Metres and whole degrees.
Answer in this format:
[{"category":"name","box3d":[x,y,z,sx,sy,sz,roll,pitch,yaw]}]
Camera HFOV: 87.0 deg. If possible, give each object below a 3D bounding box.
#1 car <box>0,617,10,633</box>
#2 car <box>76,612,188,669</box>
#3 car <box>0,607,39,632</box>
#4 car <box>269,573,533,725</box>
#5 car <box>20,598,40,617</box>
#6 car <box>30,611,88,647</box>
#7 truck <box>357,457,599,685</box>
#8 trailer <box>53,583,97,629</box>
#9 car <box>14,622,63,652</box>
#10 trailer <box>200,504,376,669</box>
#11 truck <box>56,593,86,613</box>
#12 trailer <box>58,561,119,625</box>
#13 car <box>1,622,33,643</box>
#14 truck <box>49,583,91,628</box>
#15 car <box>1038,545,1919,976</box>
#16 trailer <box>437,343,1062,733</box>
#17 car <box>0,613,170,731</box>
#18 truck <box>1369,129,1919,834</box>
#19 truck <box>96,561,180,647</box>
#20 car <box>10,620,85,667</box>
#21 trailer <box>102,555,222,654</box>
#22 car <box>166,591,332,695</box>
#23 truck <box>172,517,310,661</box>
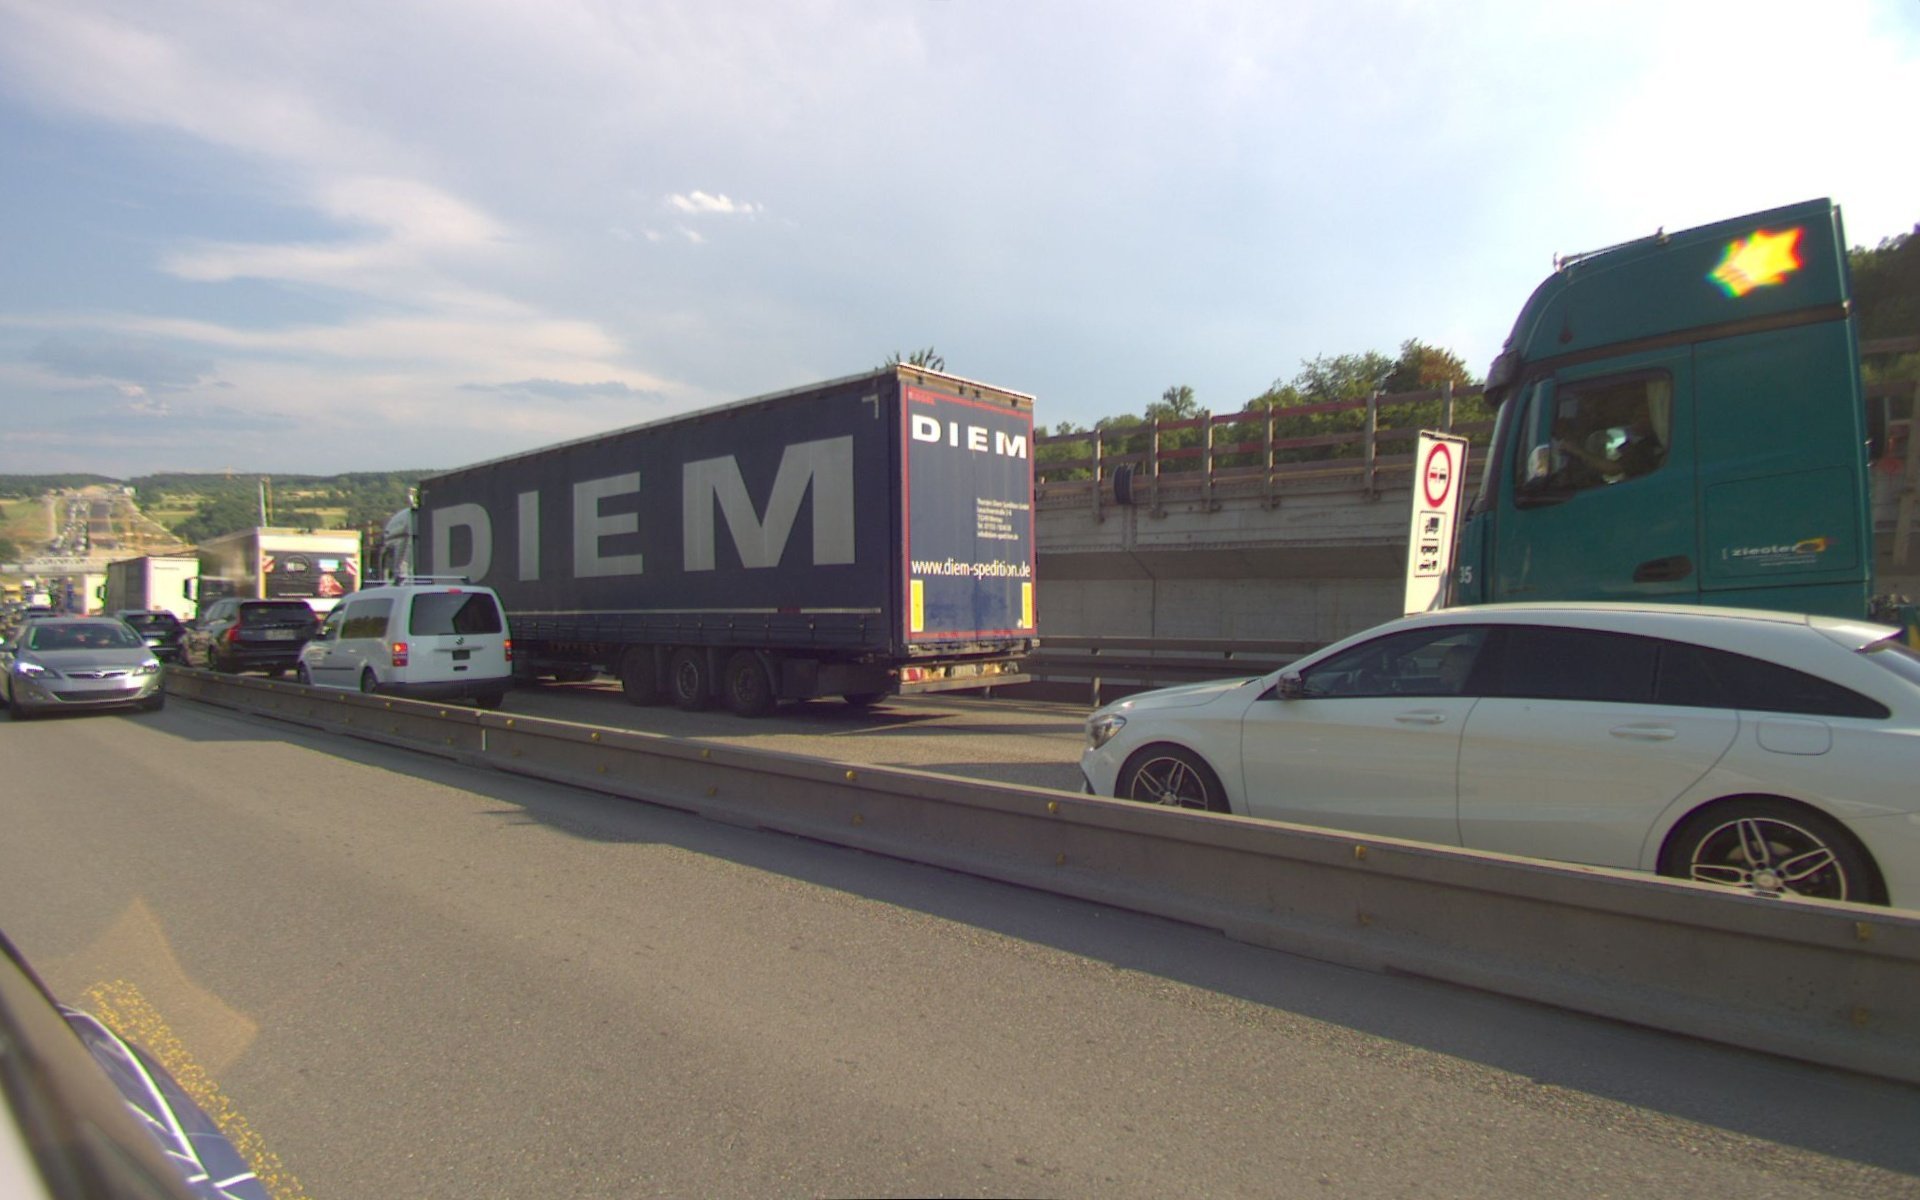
[{"category":"car","box3d":[-99.869,2.630,105.188,1.679,1.588,4.374,0,0,-43]},{"category":"car","box3d":[-25.669,1.191,31.290,5.367,1.618,1.856,0,-2,42]},{"category":"car","box3d":[-71.544,1.450,76.908,4.977,1.667,1.985,0,2,45]},{"category":"car","box3d":[-8.609,0.662,15.347,5.128,1.948,1.804,0,-3,41]},{"category":"car","box3d":[-131.572,1.077,143.174,1.972,2.636,5.619,1,-1,-43]},{"category":"car","box3d":[-44.441,1.404,49.875,4.480,1.562,1.747,1,2,44]},{"category":"truck","box3d":[-10.092,-0.486,21.047,5.027,4.146,2.720,-1,-2,41]},{"category":"trailer","box3d":[-83.750,0.526,95.705,2.782,4.136,8.294,0,0,-43]},{"category":"car","box3d":[-53.748,2.139,58.992,4.816,1.467,1.755,1,2,44]},{"category":"trailer","box3d":[-20.757,-0.357,31.077,7.152,4.499,2.880,0,0,43]},{"category":"truck","box3d":[-140.701,0.442,160.149,3.197,3.169,6.495,0,0,-44]},{"category":"trailer","box3d":[-63.911,-0.453,74.057,2.427,4.352,13.784,0,0,-45]},{"category":"car","box3d":[-84.893,2.899,91.118,4.733,1.618,1.859,0,2,44]},{"category":"truck","box3d":[-90.274,0.560,102.611,2.782,4.290,10.590,0,0,-43]},{"category":"car","box3d":[2.865,0.598,5.308,4.815,1.533,1.784,0,-2,42]},{"category":"trailer","box3d":[-4.261,-0.577,15.923,12.487,4.154,2.686,-1,-2,41]},{"category":"car","box3d":[-13.694,0.990,15.526,4.118,1.498,1.786,0,1,42]},{"category":"truck","box3d":[6.569,-0.636,6.127,7.107,3.834,2.720,-1,-2,41]},{"category":"truck","box3d":[-43.426,0.208,53.403,6.117,4.235,2.733,0,0,44]},{"category":"car","box3d":[-37.236,1.722,41.244,4.747,1.598,1.842,1,4,44]},{"category":"trailer","box3d":[-38.866,0.198,48.988,13.837,4.235,2.745,0,0,44]},{"category":"car","box3d":[-15.153,0.799,21.452,4.898,1.978,1.813,0,0,42]},{"category":"truck","box3d":[-24.772,-0.355,34.787,5.027,4.548,2.888,-1,0,43]}]
